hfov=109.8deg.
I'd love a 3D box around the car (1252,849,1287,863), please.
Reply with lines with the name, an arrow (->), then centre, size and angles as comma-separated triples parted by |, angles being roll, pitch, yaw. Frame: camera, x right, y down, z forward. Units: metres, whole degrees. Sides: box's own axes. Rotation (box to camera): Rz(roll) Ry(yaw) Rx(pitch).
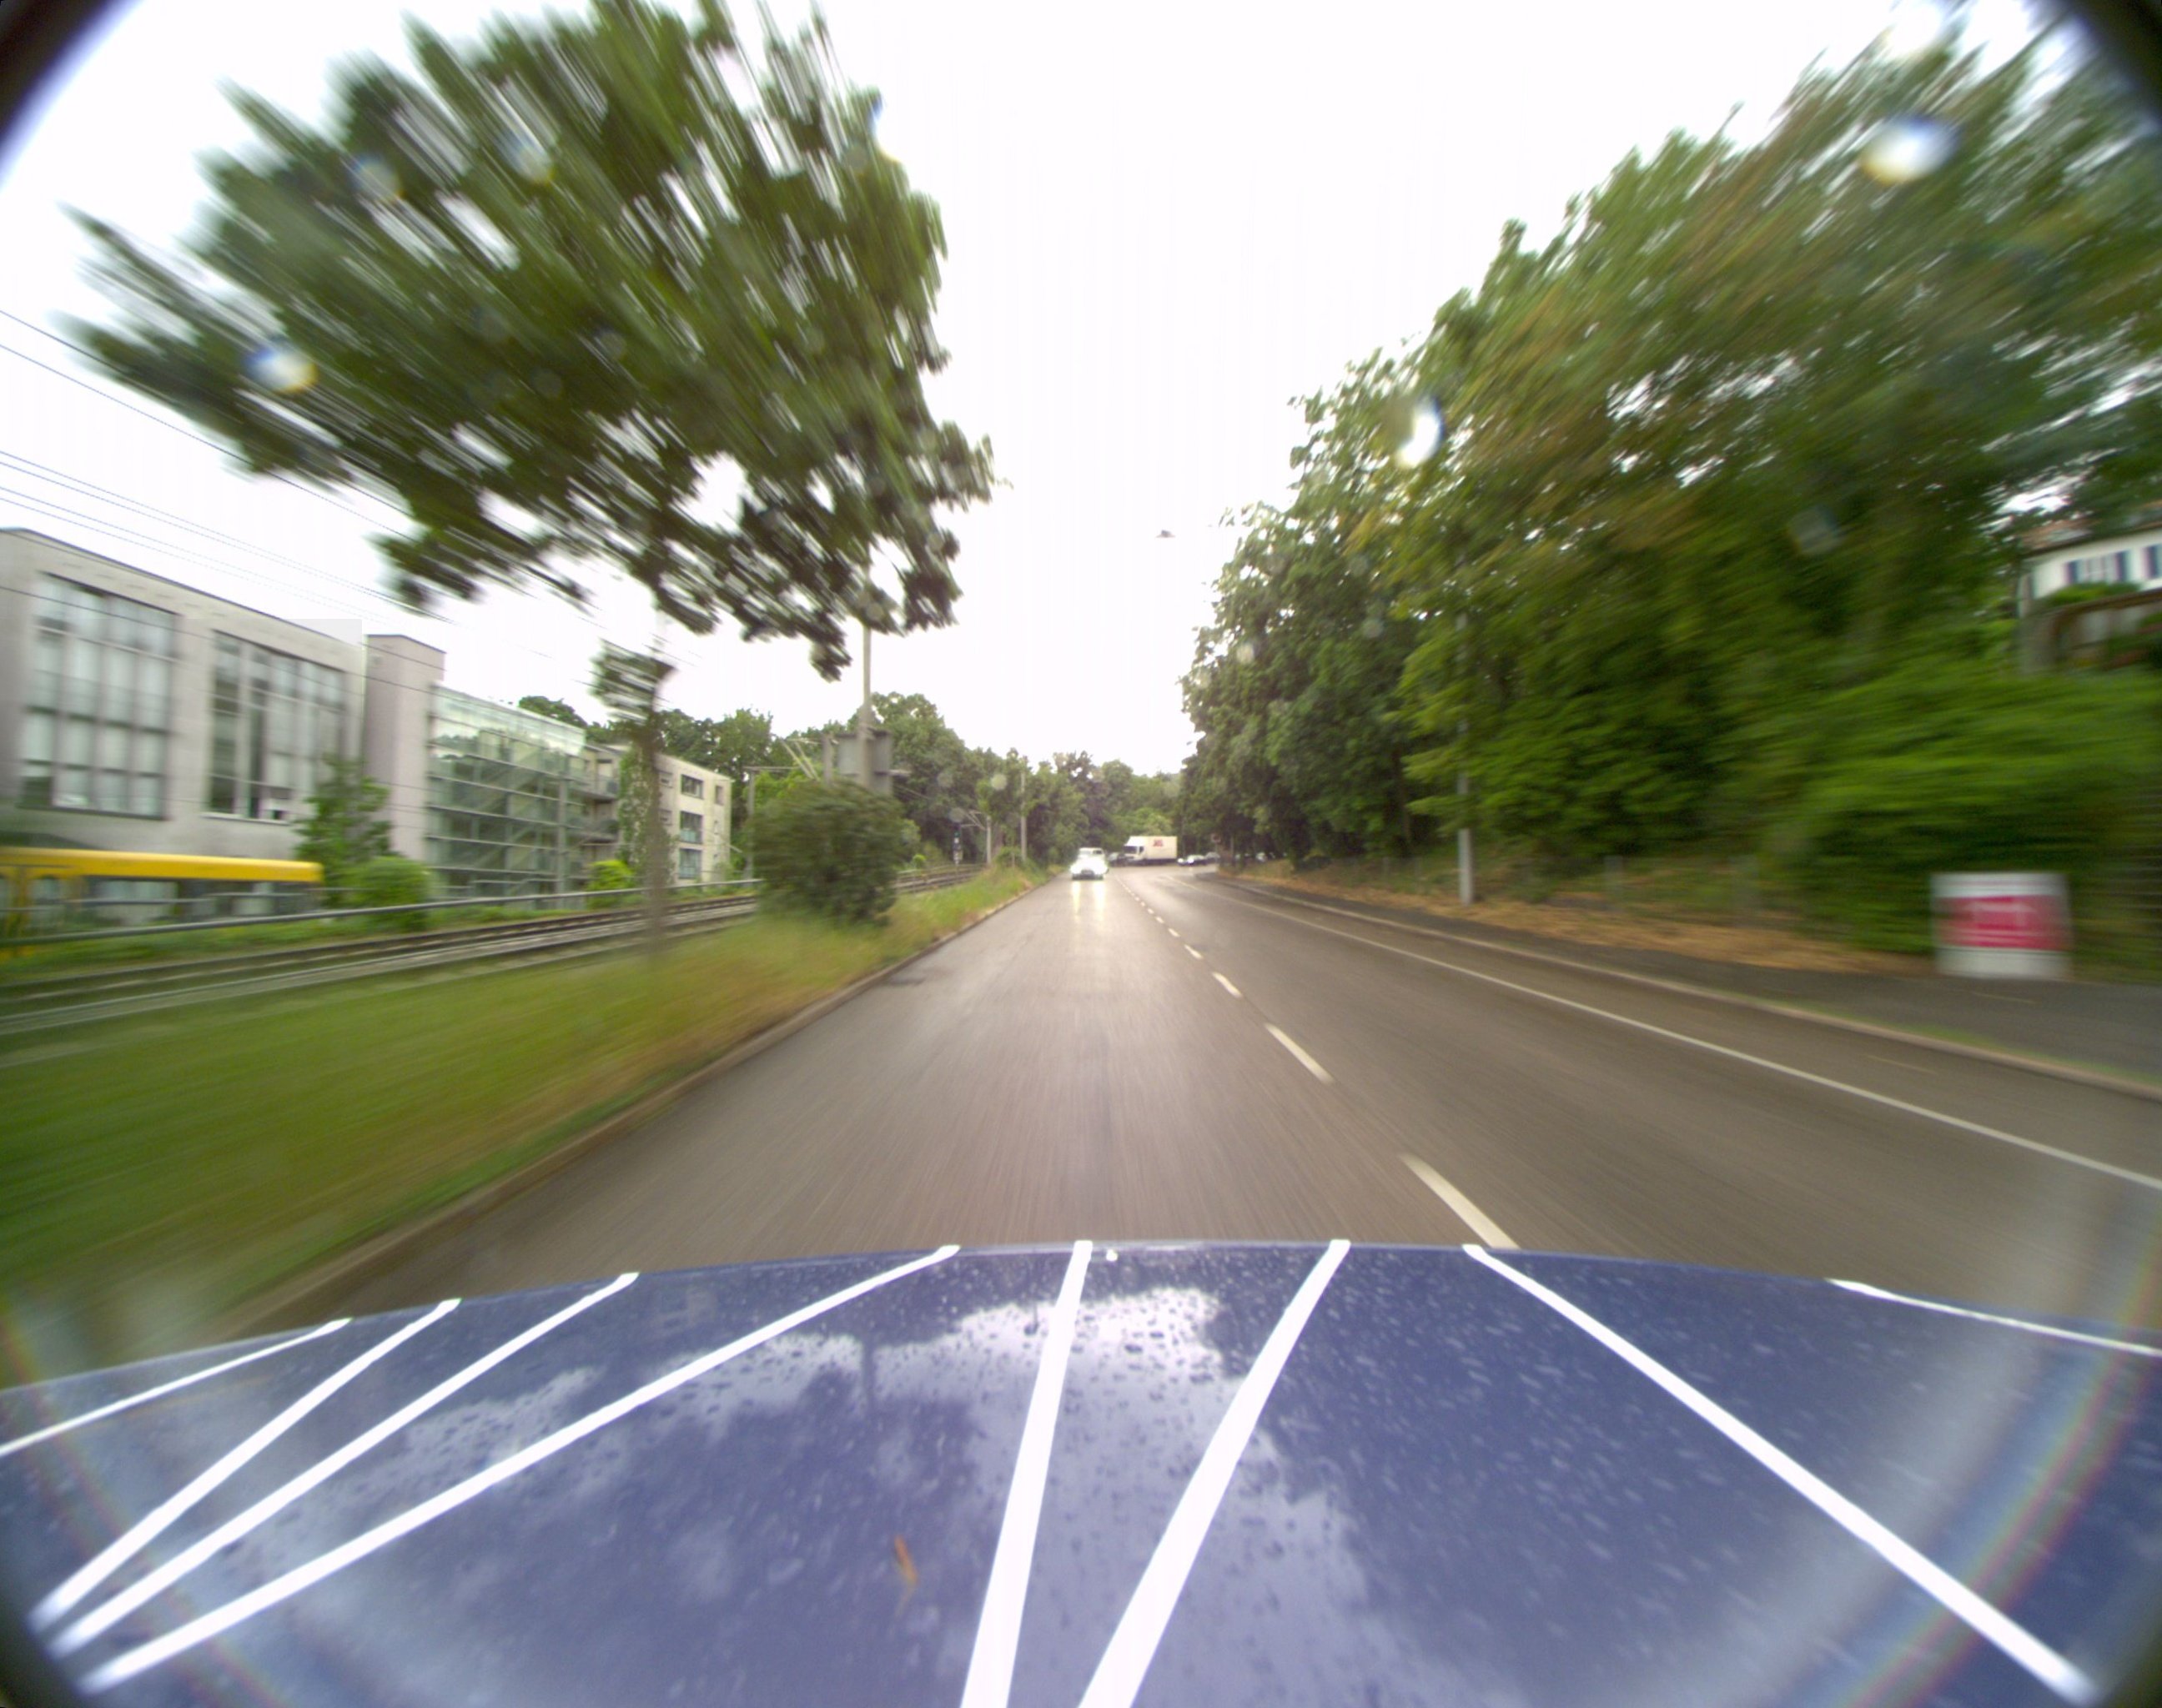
car -> 21.104, 0.185, 85.085 | 4.055, 1.448, 1.752 | -2, 2, -41

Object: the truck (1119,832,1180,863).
truck -> 8.133, -0.820, 89.461 | 3.008, 3.553, 8.353 | 0, 1, 39

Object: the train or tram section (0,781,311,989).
train or tram section -> -22.159, 0.588, 10.414 | 3.339, 3.924, 19.282 | -1, 0, 1

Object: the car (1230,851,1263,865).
car -> 17.718, 0.388, 81.240 | 1.773, 1.435, 4.024 | 0, 2, 41

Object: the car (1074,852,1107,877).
car -> 0.663, 0.663, 48.729 | 1.898, 1.530, 4.501 | 0, 0, 3

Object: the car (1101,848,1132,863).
car -> 3.876, 0.145, 83.005 | 1.719, 1.547, 4.284 | 2, 1, 28

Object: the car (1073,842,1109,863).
car -> 1.071, -0.165, 76.525 | 1.878, 2.002, 4.699 | 2, 1, 23

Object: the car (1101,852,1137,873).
car -> 3.144, 0.663, 61.934 | 1.996, 1.660, 4.536 | 0, 0, 16
